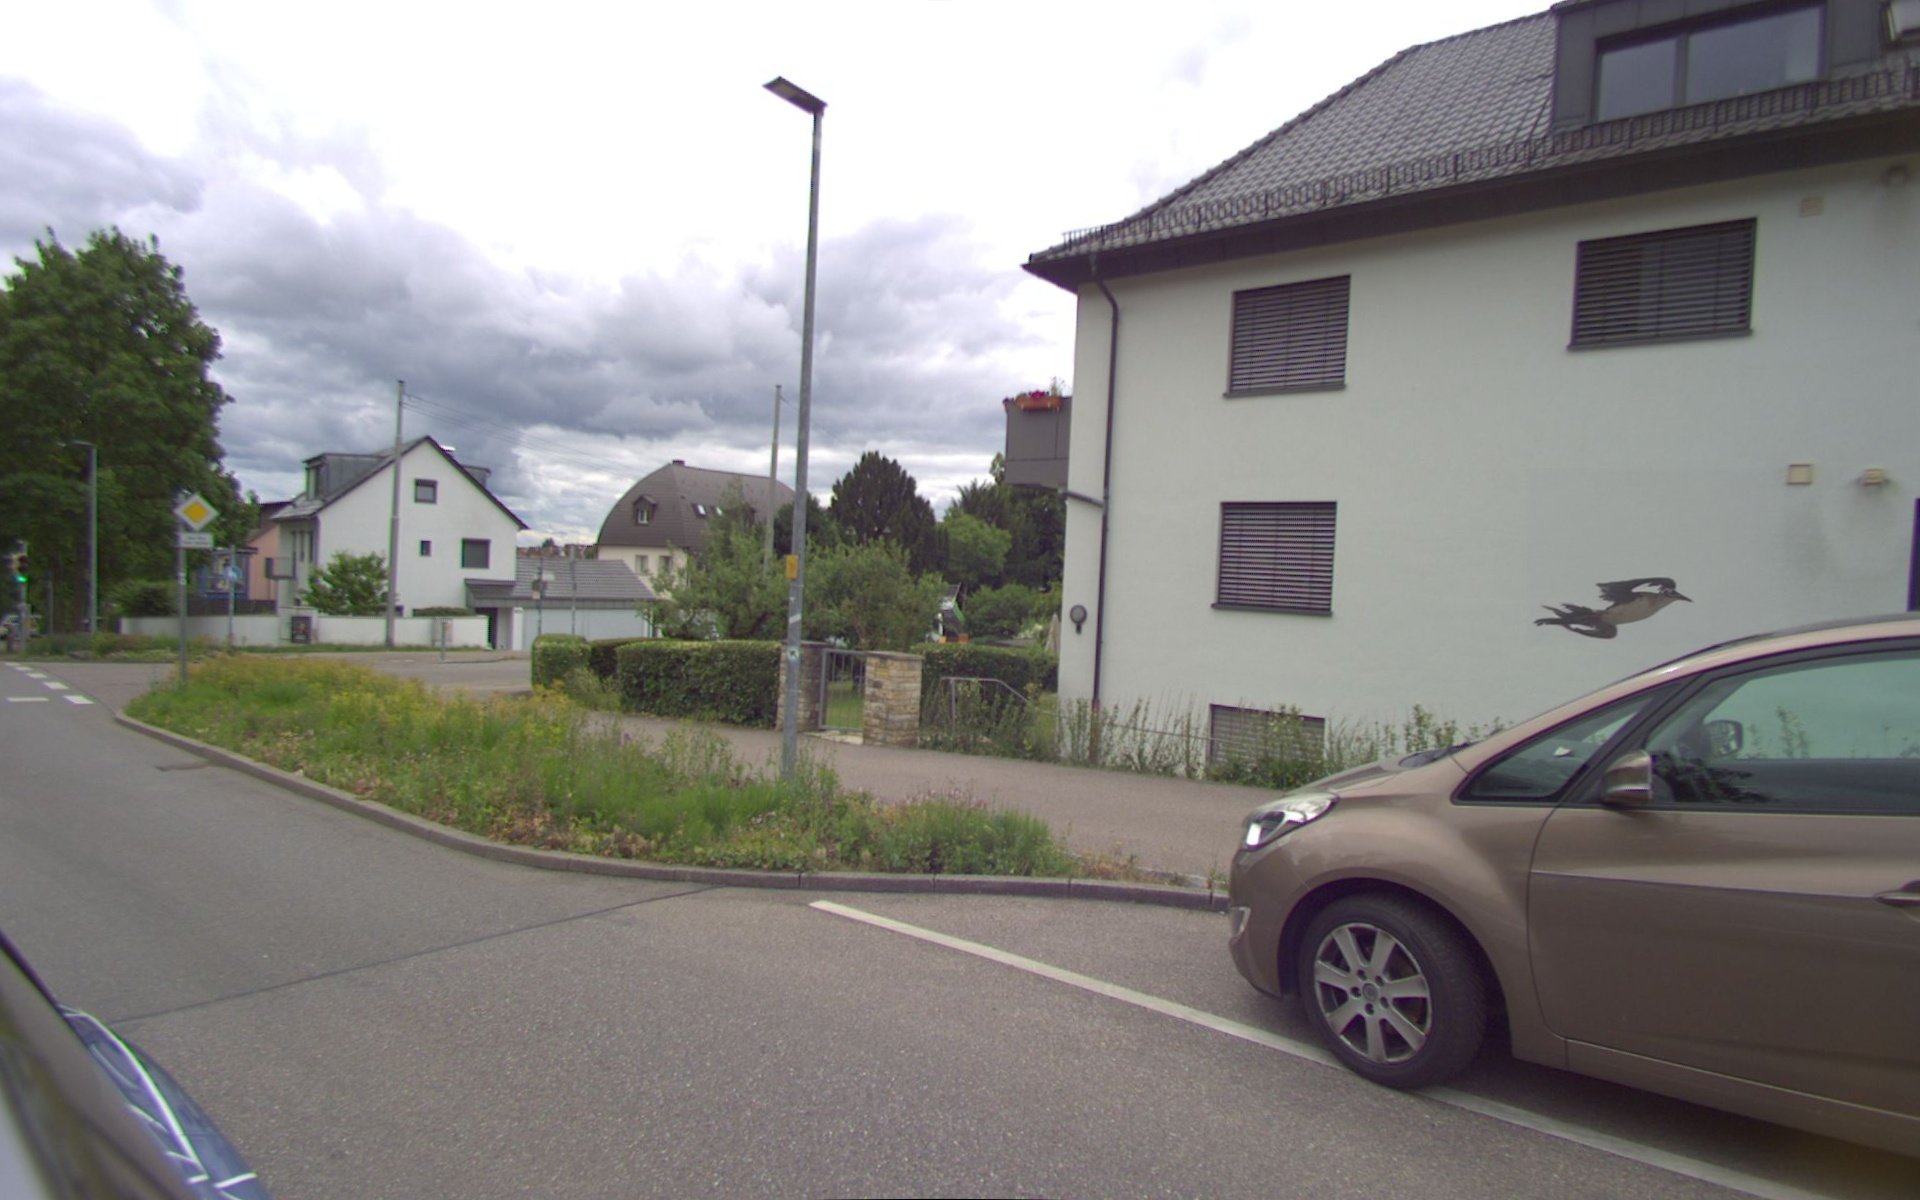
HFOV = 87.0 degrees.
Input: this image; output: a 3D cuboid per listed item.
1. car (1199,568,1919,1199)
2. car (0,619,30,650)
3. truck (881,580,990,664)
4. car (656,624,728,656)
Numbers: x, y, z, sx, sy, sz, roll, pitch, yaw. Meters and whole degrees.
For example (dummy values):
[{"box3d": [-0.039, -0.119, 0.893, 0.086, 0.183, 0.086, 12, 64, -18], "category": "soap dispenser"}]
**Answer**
[{"box3d": [2.912, 0.738, 3.028, 3.872, 1.597, 1.857, -2, -2, 43], "category": "car"}, {"box3d": [-55.489, 1.970, 58.400, 1.966, 1.563, 4.011, 3, -1, -32], "category": "car"}, {"box3d": [-1.302, 1.392, 61.081, 3.138, 4.585, 7.884, 3, -1, 25], "category": "truck"}, {"box3d": [-13.412, 2.003, 50.528, 3.857, 1.508, 1.669, -4, -4, 41], "category": "car"}]
